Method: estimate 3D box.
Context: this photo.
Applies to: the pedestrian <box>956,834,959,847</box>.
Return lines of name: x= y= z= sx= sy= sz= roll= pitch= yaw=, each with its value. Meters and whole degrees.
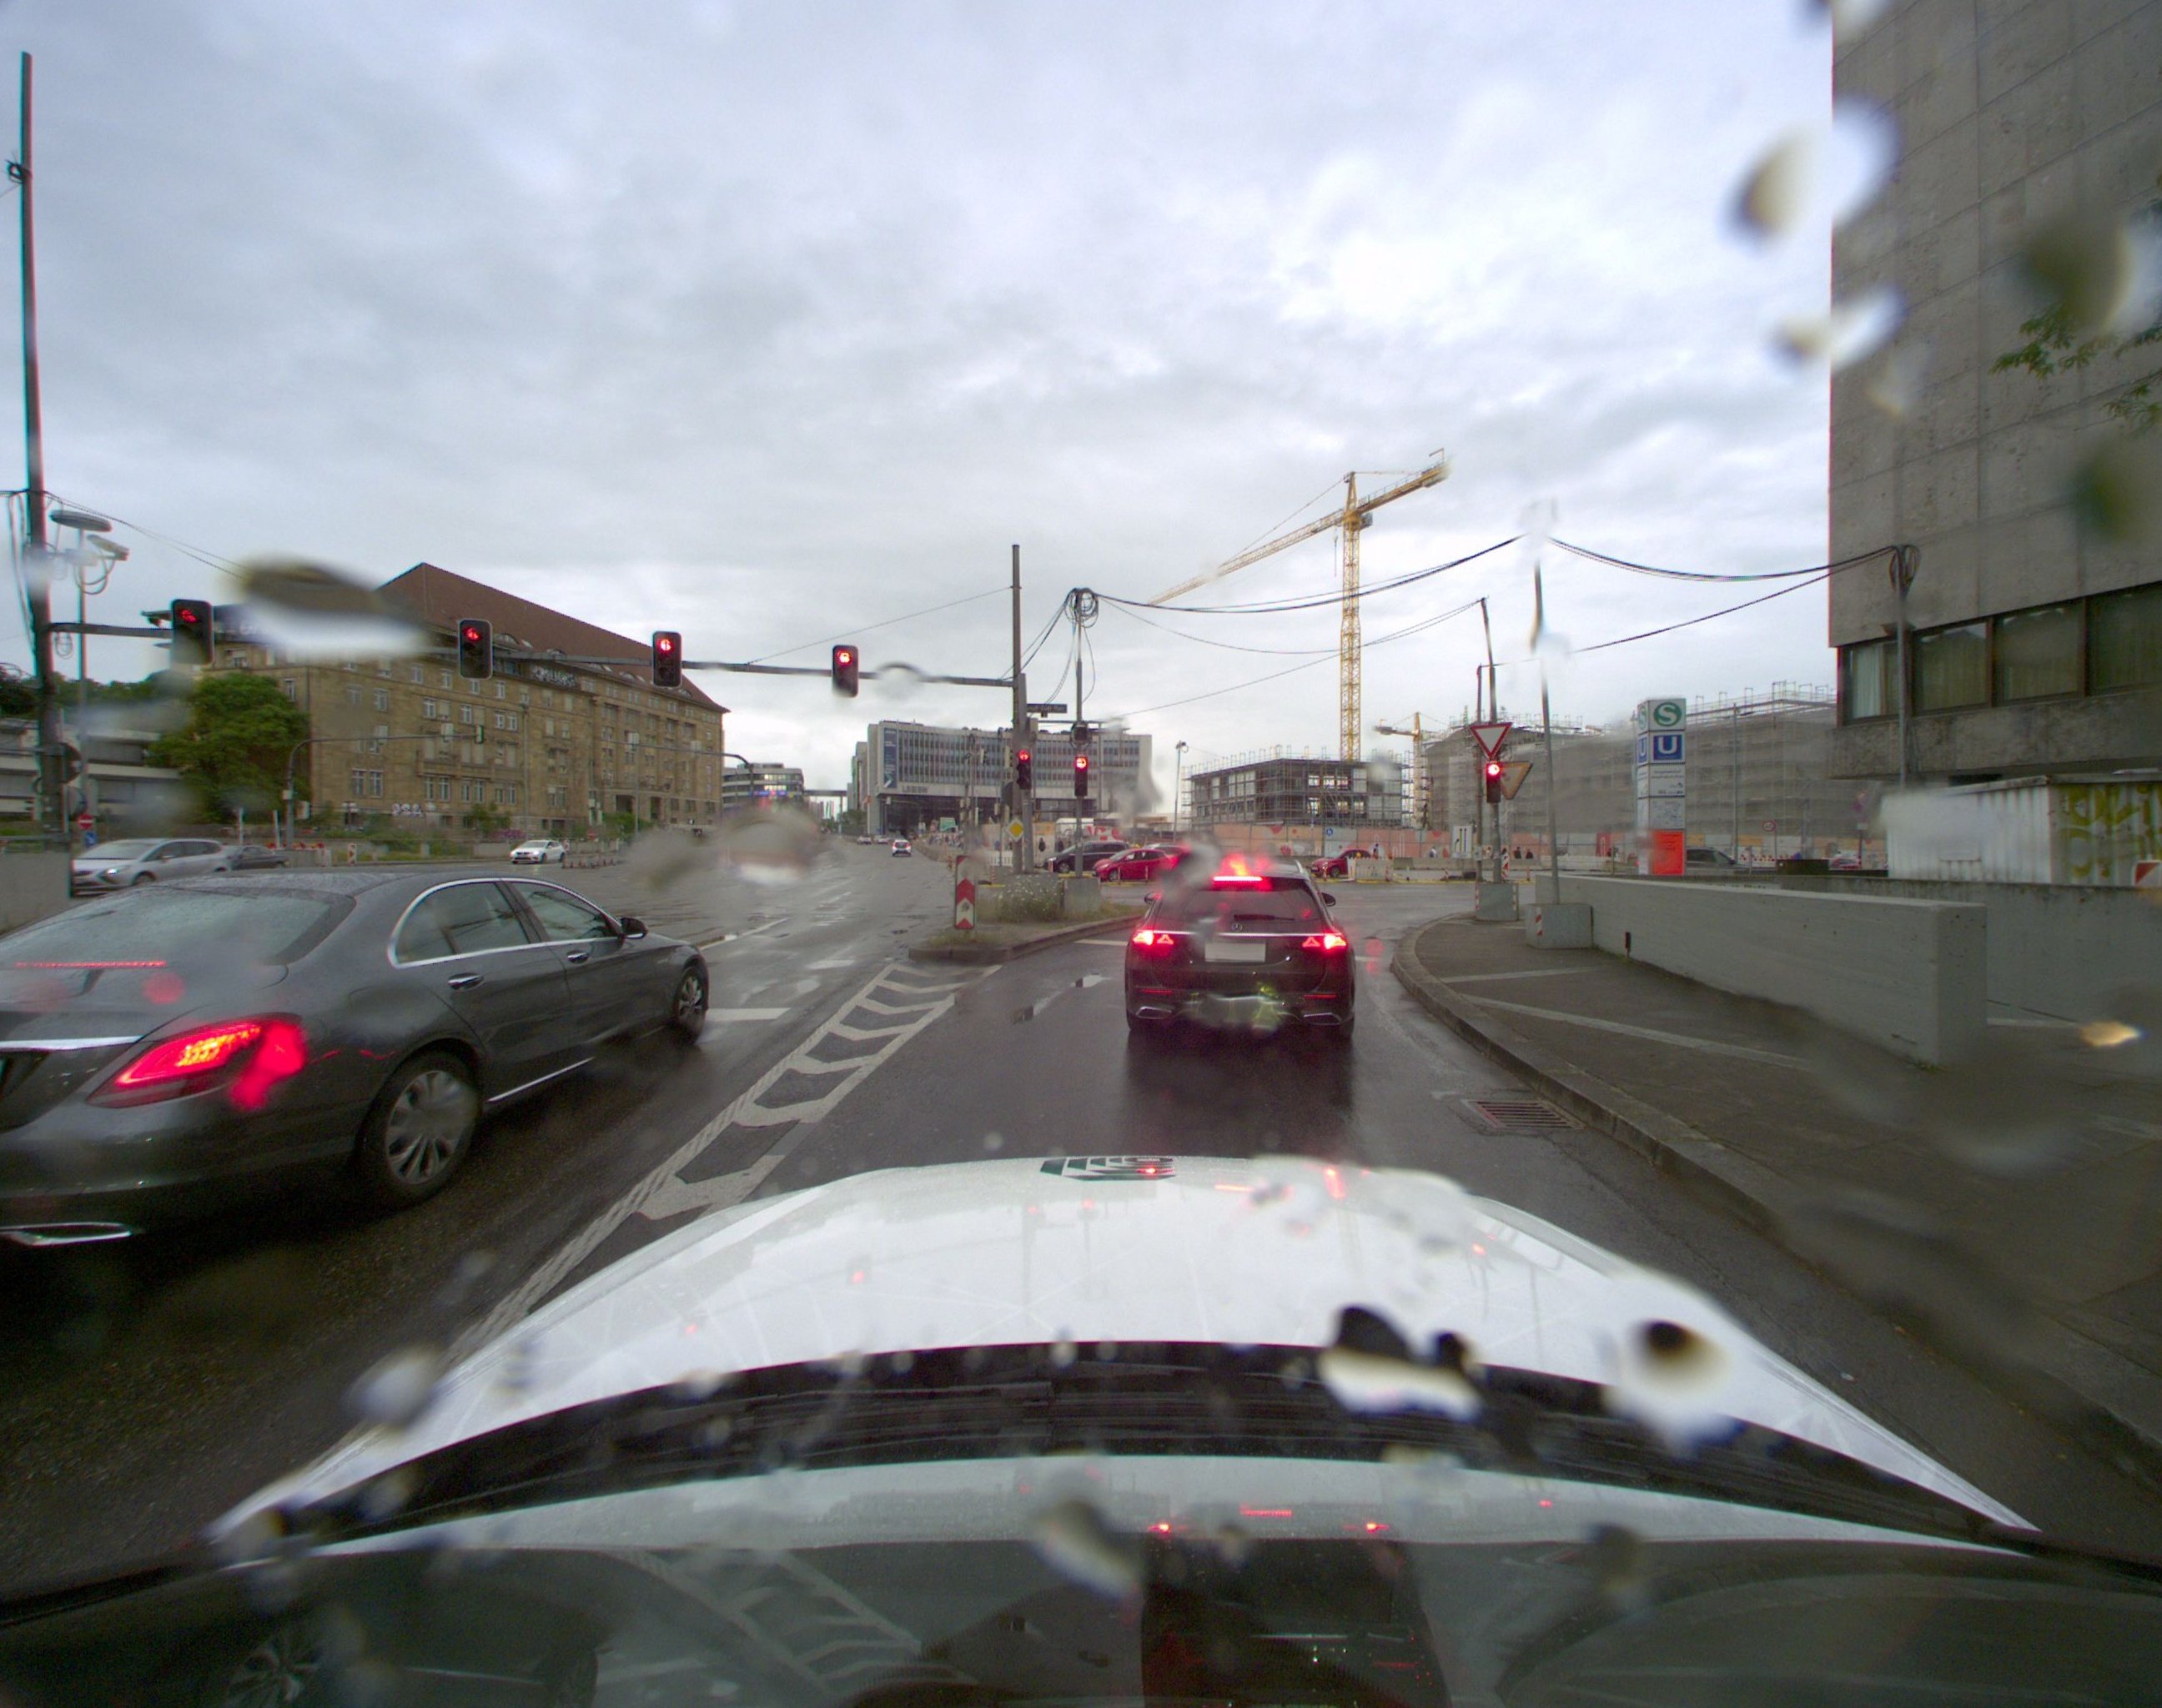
pedestrian: x=-18.387 y=-1.939 z=121.094 sx=0.362 sy=1.898 sz=0.573 roll=1 pitch=-1 yaw=-16

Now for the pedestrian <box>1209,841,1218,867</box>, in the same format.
pedestrian: x=9.692 y=0.010 z=59.547 sx=0.574 sy=1.898 sz=0.361 roll=1 pitch=-1 yaw=-10

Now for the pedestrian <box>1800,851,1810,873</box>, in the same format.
pedestrian: x=62.167 y=0.675 z=69.893 sx=0.574 sy=1.898 sz=0.361 roll=1 pitch=-1 yaw=-10

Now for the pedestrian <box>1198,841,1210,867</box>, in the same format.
pedestrian: x=9.097 y=-0.012 z=60.263 sx=0.656 sy=1.901 sz=0.629 roll=1 pitch=-1 yaw=-12

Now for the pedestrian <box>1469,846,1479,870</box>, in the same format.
pedestrian: x=31.172 y=0.285 z=64.605 sx=0.575 sy=1.898 sz=0.360 roll=1 pitch=-1 yaw=-14

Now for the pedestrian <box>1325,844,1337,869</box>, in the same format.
pedestrian: x=19.144 y=0.187 z=62.295 sx=0.656 sy=1.901 sz=0.629 roll=1 pitch=-1 yaw=-12

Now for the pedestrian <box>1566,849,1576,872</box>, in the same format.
pedestrian: x=40.019 y=0.517 z=66.503 sx=0.575 sy=1.898 sz=0.360 roll=1 pitch=-1 yaw=-14

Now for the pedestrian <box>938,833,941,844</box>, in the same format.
pedestrian: x=-24.251 y=-2.706 z=139.707 sx=0.362 sy=1.898 sz=0.573 roll=1 pitch=-1 yaw=-16

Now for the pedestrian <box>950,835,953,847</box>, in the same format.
pedestrian: x=-20.277 y=-2.006 z=127.181 sx=0.362 sy=1.898 sz=0.573 roll=1 pitch=-1 yaw=-16

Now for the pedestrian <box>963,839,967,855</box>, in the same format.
pedestrian: x=-13.864 y=-0.812 z=97.451 sx=0.362 sy=1.898 sz=0.573 roll=1 pitch=-1 yaw=-16

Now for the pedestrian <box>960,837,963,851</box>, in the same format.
pedestrian: x=-16.382 y=-1.350 z=111.369 sx=0.362 sy=1.898 sz=0.573 roll=1 pitch=-1 yaw=-16

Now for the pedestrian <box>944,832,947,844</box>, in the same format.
pedestrian: x=-22.909 y=-2.722 z=137.422 sx=0.362 sy=1.898 sz=0.573 roll=1 pitch=-1 yaw=-16

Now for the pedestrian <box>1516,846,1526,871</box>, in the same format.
pedestrian: x=33.006 y=0.334 z=61.063 sx=0.574 sy=1.898 sz=0.361 roll=1 pitch=-1 yaw=-10

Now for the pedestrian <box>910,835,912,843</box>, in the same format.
pedestrian: x=-37.835 y=-3.354 z=181.363 sx=0.361 sy=1.898 sz=0.574 roll=1 pitch=-1 yaw=-13

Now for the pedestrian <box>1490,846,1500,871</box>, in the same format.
pedestrian: x=31.763 y=0.337 z=62.440 sx=0.574 sy=1.898 sz=0.361 roll=1 pitch=-1 yaw=-10

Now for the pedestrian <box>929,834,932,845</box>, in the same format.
pedestrian: x=-25.729 y=-2.533 z=139.093 sx=0.362 sy=1.898 sz=0.573 roll=1 pitch=-1 yaw=-16

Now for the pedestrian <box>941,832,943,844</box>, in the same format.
pedestrian: x=-23.379 y=-2.677 z=136.976 sx=0.362 sy=1.898 sz=0.573 roll=1 pitch=-1 yaw=-16

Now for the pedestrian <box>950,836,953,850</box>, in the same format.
pedestrian: x=-17.964 y=-1.533 z=112.627 sx=0.361 sy=1.898 sz=0.574 roll=1 pitch=-1 yaw=-12

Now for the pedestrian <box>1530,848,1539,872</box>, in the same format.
pedestrian: x=36.592 y=0.460 z=65.699 sx=0.575 sy=1.898 sz=0.360 roll=1 pitch=-1 yaw=-14

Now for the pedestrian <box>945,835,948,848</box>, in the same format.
pedestrian: x=-20.995 y=-1.964 z=126.890 sx=0.362 sy=1.898 sz=0.573 roll=1 pitch=-1 yaw=-16

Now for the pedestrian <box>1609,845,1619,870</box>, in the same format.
pedestrian: x=41.543 y=0.280 z=63.472 sx=0.574 sy=1.898 sz=0.361 roll=1 pitch=-1 yaw=-10

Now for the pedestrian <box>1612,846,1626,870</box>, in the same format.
pedestrian: x=42.789 y=0.300 z=64.787 sx=0.798 sy=1.898 sz=0.563 roll=1 pitch=-1 yaw=-13

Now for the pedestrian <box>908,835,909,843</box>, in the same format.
pedestrian: x=-38.381 y=-3.364 z=181.157 sx=0.361 sy=1.898 sz=0.574 roll=1 pitch=-1 yaw=-13

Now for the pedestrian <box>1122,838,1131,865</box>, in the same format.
pedestrian: x=3.304 y=-0.184 z=59.303 sx=0.572 sy=1.898 sz=0.362 roll=1 pitch=-1 yaw=4

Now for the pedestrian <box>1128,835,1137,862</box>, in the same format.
pedestrian: x=3.601 y=-0.375 z=56.739 sx=0.573 sy=1.898 sz=0.362 roll=1 pitch=-1 yaw=-1

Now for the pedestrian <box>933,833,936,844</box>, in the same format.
pedestrian: x=-25.045 y=-2.717 z=139.406 sx=0.362 sy=1.898 sz=0.573 roll=1 pitch=-1 yaw=-16

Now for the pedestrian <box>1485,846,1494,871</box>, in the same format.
pedestrian: x=31.617 y=0.344 z=63.046 sx=0.574 sy=1.898 sz=0.361 roll=1 pitch=-1 yaw=-10

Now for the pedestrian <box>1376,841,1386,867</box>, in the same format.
pedestrian: x=22.225 y=0.029 z=60.406 sx=0.574 sy=1.898 sz=0.361 roll=1 pitch=-1 yaw=-10

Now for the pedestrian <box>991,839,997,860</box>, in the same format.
pedestrian: x=-7.828 y=-0.387 z=73.314 sx=0.362 sy=1.898 sz=0.572 roll=1 pitch=-1 yaw=-20

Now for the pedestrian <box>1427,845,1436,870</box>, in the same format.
pedestrian: x=26.834 y=0.278 z=62.338 sx=0.574 sy=1.898 sz=0.361 roll=1 pitch=-1 yaw=-10

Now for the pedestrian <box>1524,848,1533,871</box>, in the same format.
pedestrian: x=36.297 y=0.460 z=66.019 sx=0.575 sy=1.898 sz=0.360 roll=1 pitch=-1 yaw=-14

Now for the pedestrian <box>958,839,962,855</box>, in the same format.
pedestrian: x=-14.694 y=-0.803 z=98.835 sx=0.362 sy=1.898 sz=0.573 roll=1 pitch=-1 yaw=-16
